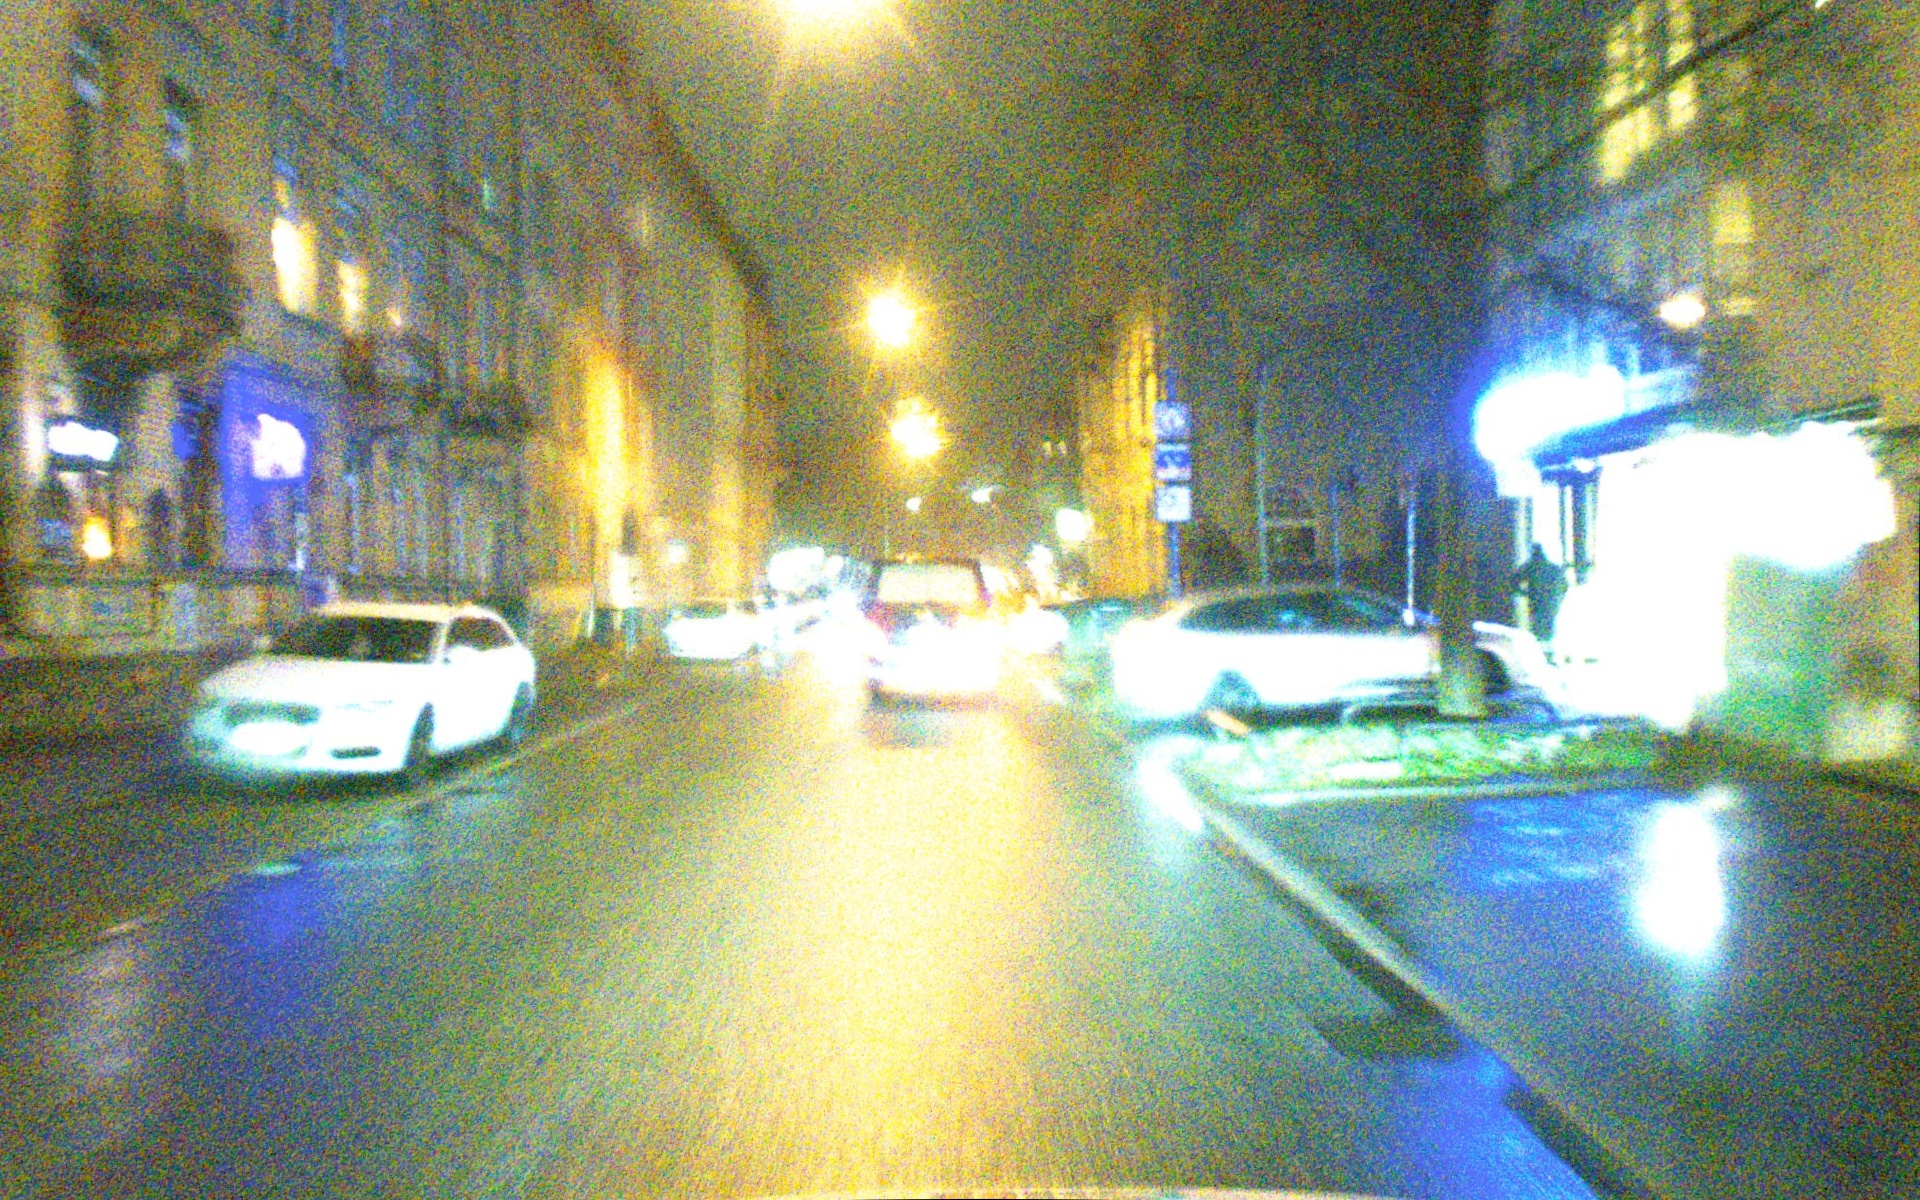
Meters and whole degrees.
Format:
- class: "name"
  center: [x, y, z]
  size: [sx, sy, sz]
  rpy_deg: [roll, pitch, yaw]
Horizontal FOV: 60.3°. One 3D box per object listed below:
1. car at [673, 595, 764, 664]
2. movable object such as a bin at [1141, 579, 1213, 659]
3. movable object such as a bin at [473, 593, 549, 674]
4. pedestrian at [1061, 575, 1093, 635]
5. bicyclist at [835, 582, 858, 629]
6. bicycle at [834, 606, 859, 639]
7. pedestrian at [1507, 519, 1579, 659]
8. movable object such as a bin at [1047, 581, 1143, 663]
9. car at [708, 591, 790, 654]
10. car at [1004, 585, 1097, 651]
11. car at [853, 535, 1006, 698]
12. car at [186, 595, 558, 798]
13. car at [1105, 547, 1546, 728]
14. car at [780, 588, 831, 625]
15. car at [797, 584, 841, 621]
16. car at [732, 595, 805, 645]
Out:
- class: "car"
  center: [-5.546, 0.637, 38.361]
  size: [1.638, 1.517, 3.721]
  rpy_deg: [0, 0, -1]
- class: "movable object such as a bin"
  center: [4.098, 0.351, 31.194]
  size: [1.281, 1.454, 1.051]
  rpy_deg: [-1, 0, 8]
- class: "movable object such as a bin"
  center: [-8.543, 0.618, 31.559]
  size: [1.079, 1.479, 1.378]
  rpy_deg: [-2, 0, -3]
- class: "pedestrian"
  center: [3.648, 0.146, 51.623]
  size: [0.844, 1.819, 1.083]
  rpy_deg: [-3, 1, 2]
- class: "bicyclist"
  center: [-3.971, 0.187, 57.829]
  size: [0.704, 1.583, 0.895]
  rpy_deg: [-2, 0, -1]
- class: "bicycle"
  center: [-3.947, 0.765, 57.809]
  size: [0.712, 1.091, 2.348]
  rpy_deg: [-2, 0, -1]
- class: "pedestrian"
  center: [7.827, -0.152, 22.218]
  size: [0.688, 1.819, 0.624]
  rpy_deg: [-3, 1, 2]
- class: "movable object such as a bin"
  center: [2.517, 0.399, 30.851]
  size: [1.327, 1.454, 1.185]
  rpy_deg: [-1, 0, -37]
- class: "car"
  center: [-5.721, 0.563, 45.243]
  size: [1.738, 1.599, 4.133]
  rpy_deg: [-1, 0, -1]
- class: "car"
  center: [2.180, 0.407, 41.053]
  size: [1.953, 1.489, 4.416]
  rpy_deg: [-1, 0, -1]
- class: "car"
  center: [-0.416, 0.189, 23.861]
  size: [1.955, 2.084, 4.694]
  rpy_deg: [-1, 1, -1]
- class: "car"
  center: [-5.207, 0.752, 15.402]
  size: [1.731, 1.509, 4.772]
  rpy_deg: [2, 1, 0]
- class: "car"
  center: [3.966, 0.388, 18.450]
  size: [4.422, 1.557, 1.780]
  rpy_deg: [-5, 0, -2]
- class: "car"
  center: [-6.541, 0.250, 70.452]
  size: [1.795, 1.512, 4.593]
  rpy_deg: [-1, 0, -1]
- class: "car"
  center: [-6.881, 0.095, 80.915]
  size: [1.795, 1.747, 4.593]
  rpy_deg: [-1, 0, -1]
- class: "car"
  center: [-5.825, 0.580, 50.684]
  size: [1.785, 1.414, 4.424]
  rpy_deg: [-1, 0, -1]
